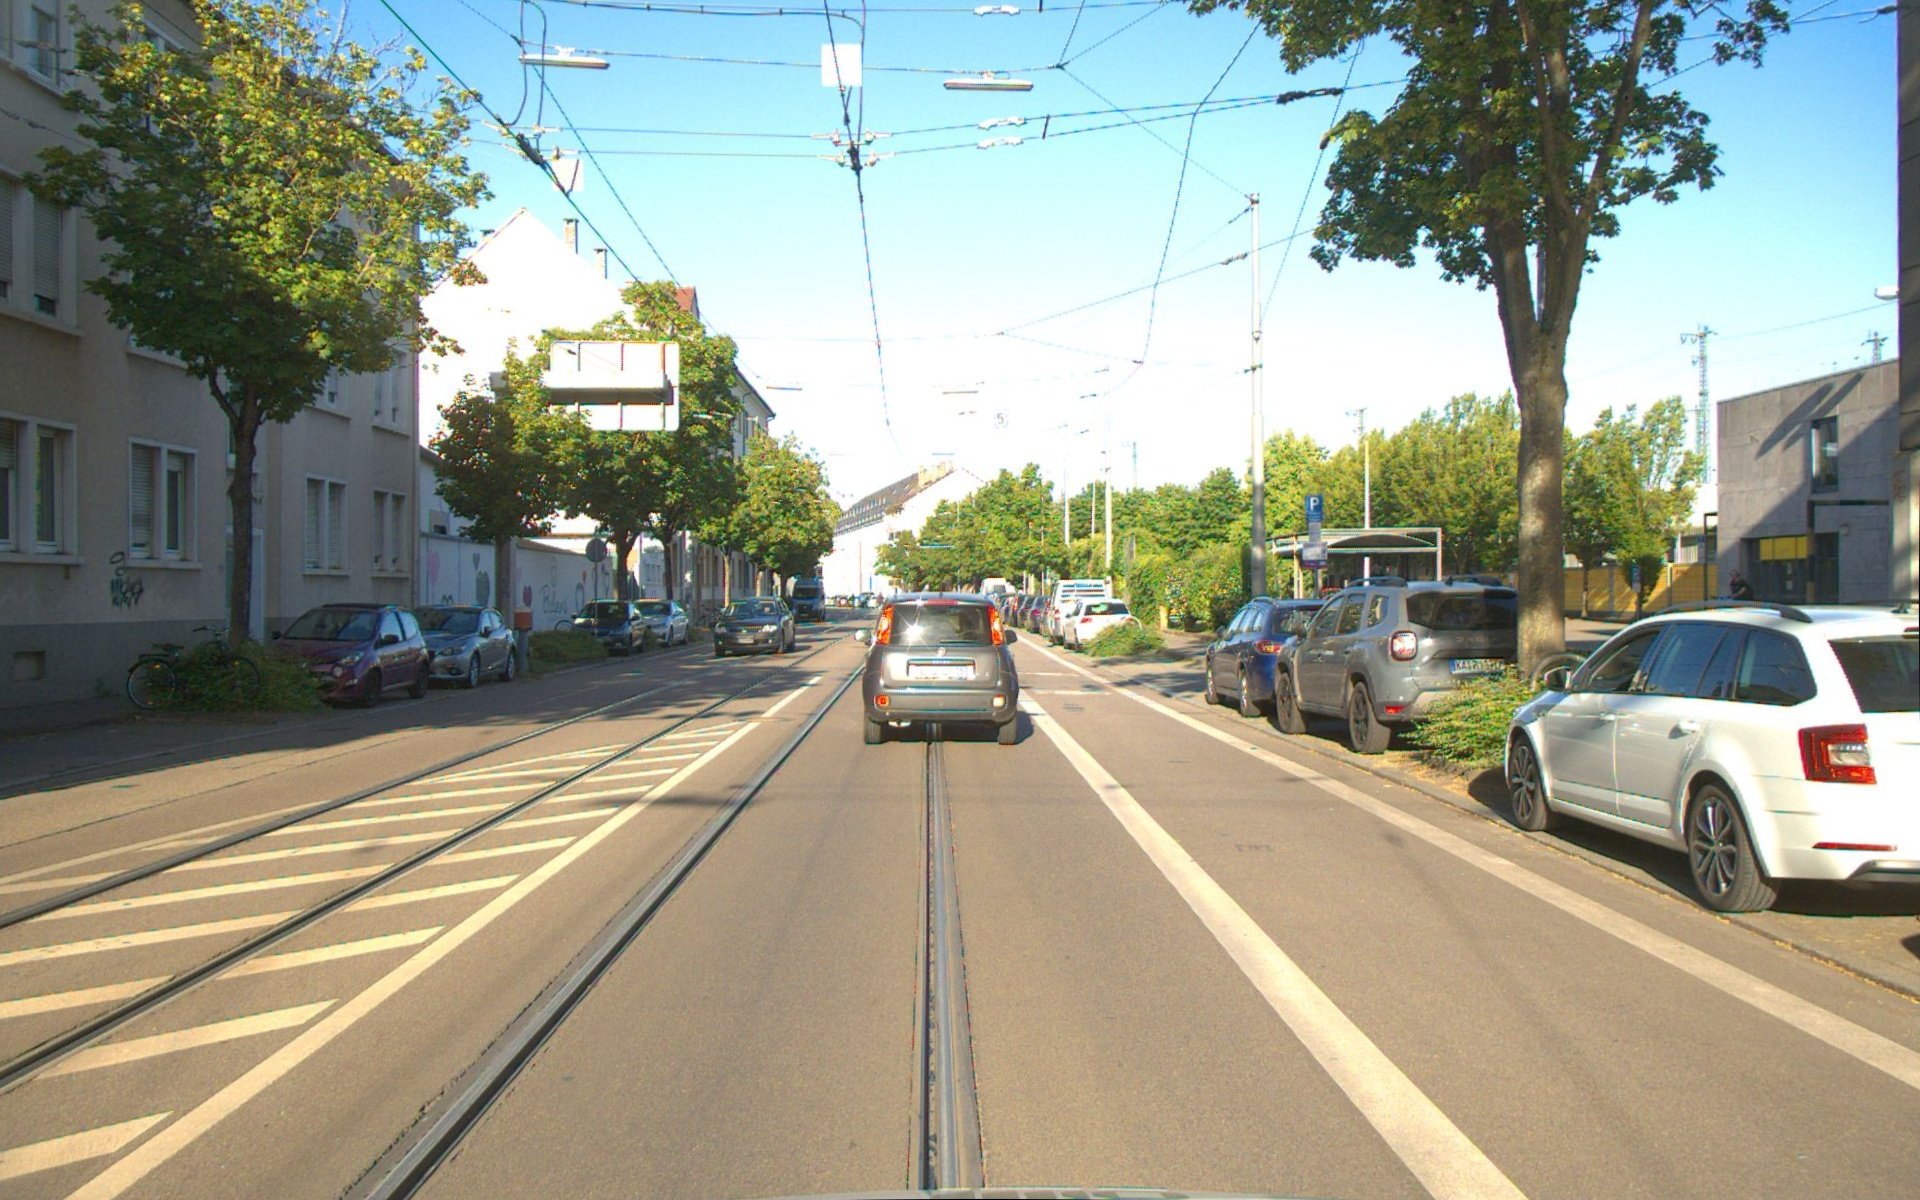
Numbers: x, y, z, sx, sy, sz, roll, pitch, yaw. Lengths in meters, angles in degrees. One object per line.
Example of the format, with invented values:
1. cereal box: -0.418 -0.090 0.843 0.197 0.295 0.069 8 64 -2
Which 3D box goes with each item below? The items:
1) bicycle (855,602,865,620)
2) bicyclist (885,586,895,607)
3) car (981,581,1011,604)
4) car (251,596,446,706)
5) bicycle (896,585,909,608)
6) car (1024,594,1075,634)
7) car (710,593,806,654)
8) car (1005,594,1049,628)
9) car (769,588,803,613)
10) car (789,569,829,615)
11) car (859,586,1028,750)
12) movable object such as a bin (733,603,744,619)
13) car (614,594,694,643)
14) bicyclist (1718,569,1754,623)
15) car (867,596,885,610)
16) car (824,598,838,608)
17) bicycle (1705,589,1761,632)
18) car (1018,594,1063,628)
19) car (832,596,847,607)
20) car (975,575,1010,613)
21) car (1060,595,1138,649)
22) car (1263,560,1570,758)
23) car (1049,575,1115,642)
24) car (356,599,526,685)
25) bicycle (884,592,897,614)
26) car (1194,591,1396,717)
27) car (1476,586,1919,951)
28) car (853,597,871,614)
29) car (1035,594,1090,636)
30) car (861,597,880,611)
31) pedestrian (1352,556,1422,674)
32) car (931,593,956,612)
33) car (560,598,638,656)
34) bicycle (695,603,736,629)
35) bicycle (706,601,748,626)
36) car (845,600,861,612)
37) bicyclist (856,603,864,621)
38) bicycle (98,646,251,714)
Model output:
1. bicycle: -11.397 1.289 188.793 0.728 2.049 2.803 1 0 -12
2. bicyclist: -5.785 -0.289 137.189 0.687 1.790 0.755 1 -1 -12
3. car: 2.553 -0.509 118.340 1.872 1.556 4.598 -1 0 -2
4. car: -9.280 0.733 25.428 1.540 1.531 3.999 1 0 -1
5. bicycle: -4.492 -0.273 128.504 0.663 1.777 2.151 1 0 -12
6. car: 3.575 0.558 66.780 1.787 1.510 4.601 1 0 0
7. car: -5.234 0.586 43.382 1.729 1.489 4.748 -1 0 2
8. car: 3.262 0.530 81.009 1.788 1.519 3.812 -2 0 -3
9. car: -10.449 0.057 99.540 1.618 1.450 4.189 1 0 -1
10. car: -9.738 -0.475 107.024 1.976 2.875 6.031 1 0 0
11. car: -0.206 0.659 18.141 1.616 1.568 4.233 -1 0 -1
12. movable object such as a bin: -13.160 0.631 98.184 0.584 0.951 0.568 0 0 -4
13. car: -9.904 0.589 53.823 1.827 1.516 4.660 1 0 -1
14. bicyclist: 20.275 -0.100 43.201 0.717 1.408 0.578 0 -1 43
15. car: -9.869 0.397 193.583 1.626 1.599 3.489 1 0 -12
16. car: -18.442 0.422 235.525 1.555 1.430 3.366 1 0 -12
17. bicycle: 20.155 0.275 43.107 0.741 1.089 1.996 0 -1 43
18. car: 3.624 0.507 75.123 1.787 1.477 4.641 0 0 -1
19. car: -16.271 0.201 223.244 1.555 1.429 3.366 -3 1 -12
20. car: 2.436 -0.425 125.092 2.136 2.712 6.088 -2 0 -3
21. car: 3.996 0.613 48.072 1.642 1.442 4.500 -2 0 -3
22. car: 4.482 0.537 16.937 1.707 1.741 4.274 1 0 -4
23. car: 3.890 0.273 53.475 1.816 2.026 5.242 0 0 1
24. car: -9.540 0.734 30.763 1.835 1.454 4.292 1 0 -1
25. bicycle: -5.773 0.252 137.110 0.663 1.777 2.151 1 0 -12
26. car: 4.367 0.655 22.262 1.668 1.507 4.657 0 0 -1
27. car: 4.517 0.706 9.320 1.677 1.516 4.622 1 1 -1
28. car: -12.209 0.683 205.570 1.626 1.978 4.651 1 0 -11
29. car: 3.794 0.552 61.886 1.834 1.498 4.075 1 0 1
30. car: -10.736 0.492 198.000 1.626 1.599 3.865 1 0 -11
31. pedestrian: 6.913 0.239 26.847 0.657 1.820 1.304 -4 0 -1
32. car: -1.481 0.200 144.096 1.657 1.557 3.993 -2 0 -8
33. car: -10.019 0.720 46.189 1.739 1.512 4.298 1 0 -8
34. bicycle: -10.274 0.685 69.538 0.656 1.058 1.779 1 0 36
35. bicycle: -10.301 0.610 73.118 0.523 1.058 1.974 0 -1 43
36. car: -13.827 0.744 212.938 1.626 1.526 3.121 1 0 -12
37. bicyclist: -11.413 1.368 188.930 0.702 2.049 0.829 1 -1 -12
38. bicycle: -9.930 1.010 20.923 1.751 0.816 0.276 1 -1 -4
